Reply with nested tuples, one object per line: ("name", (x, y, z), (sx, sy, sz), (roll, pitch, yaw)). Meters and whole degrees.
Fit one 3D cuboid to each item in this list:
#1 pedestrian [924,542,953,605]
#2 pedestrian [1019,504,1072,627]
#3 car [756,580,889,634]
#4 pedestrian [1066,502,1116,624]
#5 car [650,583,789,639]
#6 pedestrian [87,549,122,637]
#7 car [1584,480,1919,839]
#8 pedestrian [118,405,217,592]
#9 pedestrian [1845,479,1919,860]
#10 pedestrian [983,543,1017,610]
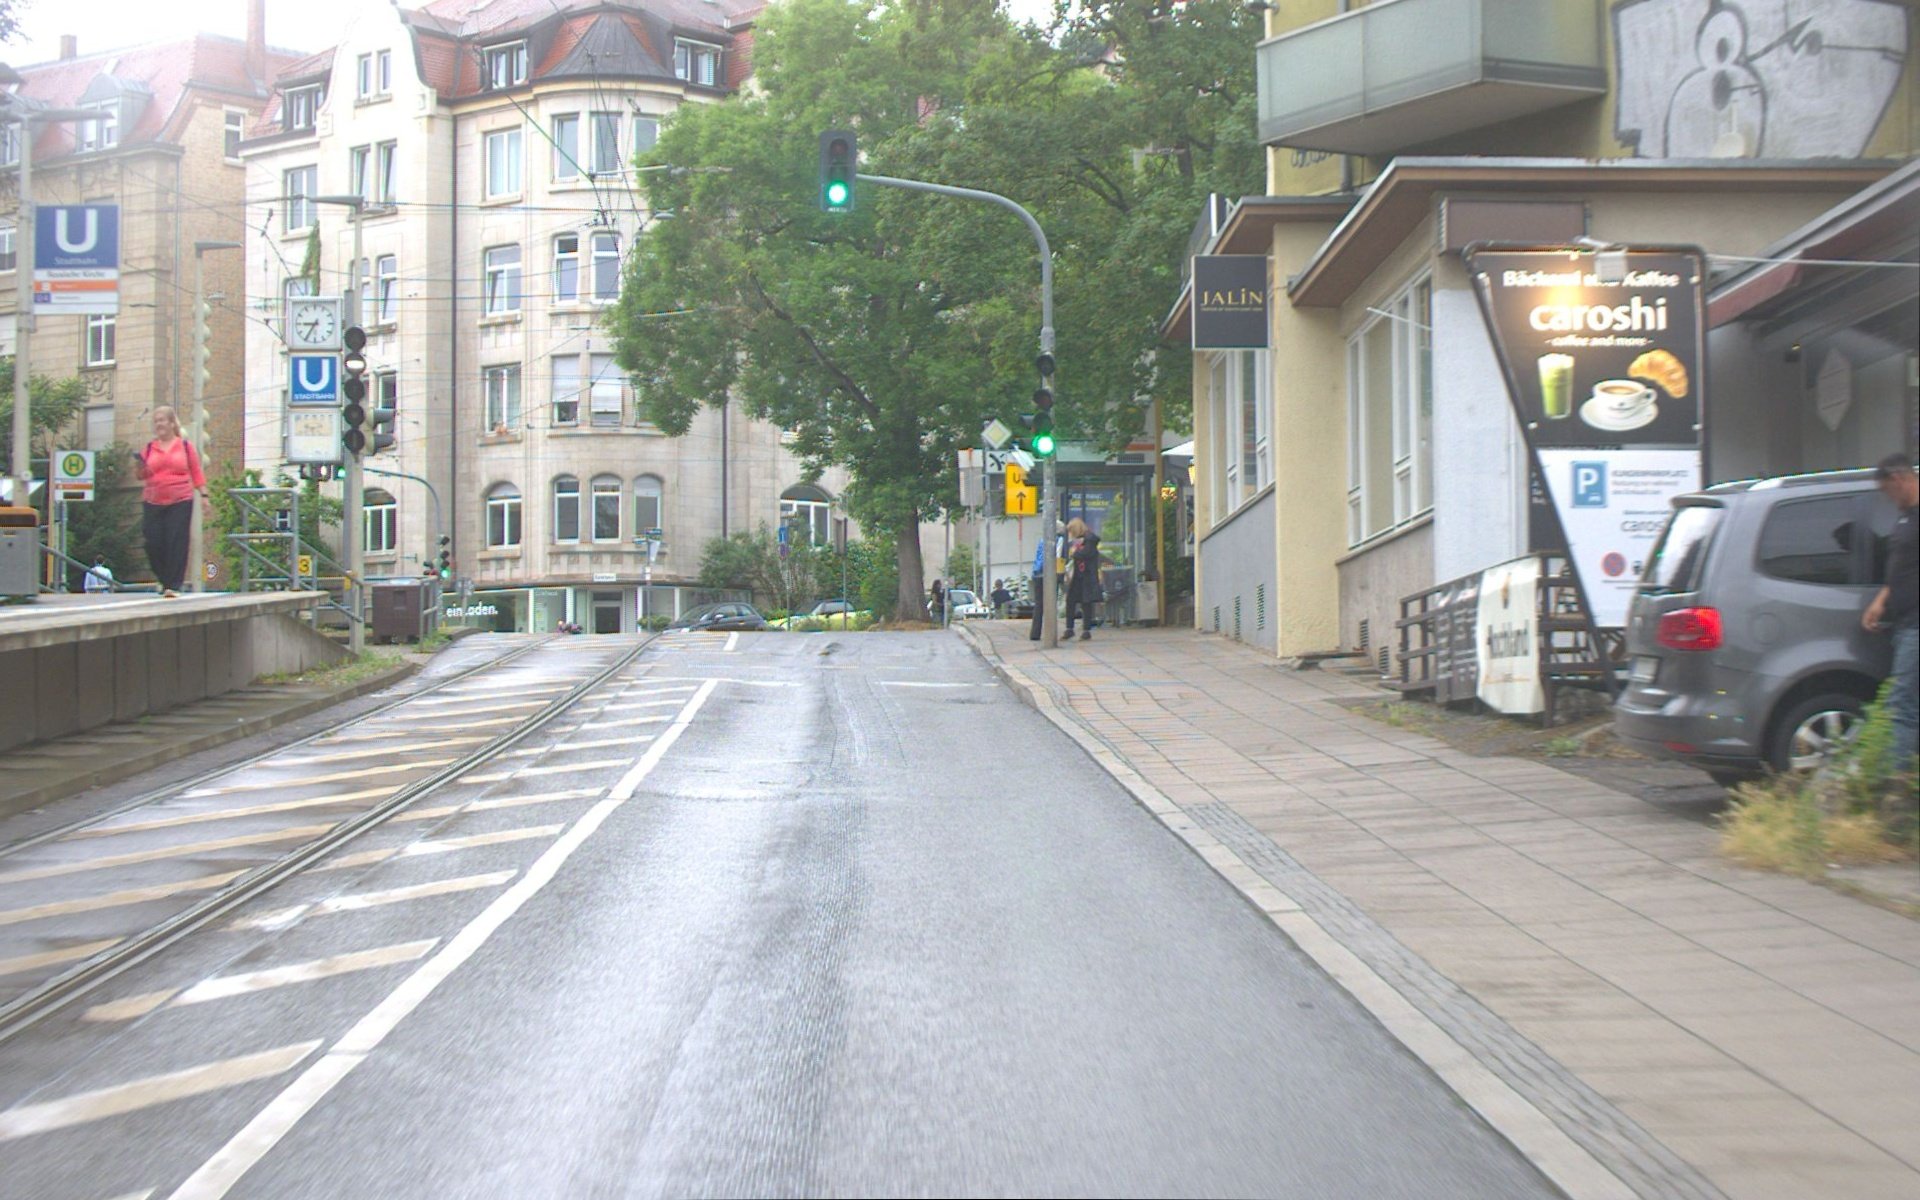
("pedestrian", (-0.535, -0.668, 85.857), (0.599, 1.560, 0.546), (2, 1, -12))
("pedestrian", (1.090, -0.448, 44.024), (0.588, 1.548, 0.650), (-2, 1, -2))
("car", (-4.036, 0.199, 101.339), (3.661, 1.503, 1.736), (-2, 1, -43))
("pedestrian", (1.685, -0.479, 44.362), (0.545, 1.548, 0.559), (-2, 1, -4))
("car", (-6.878, 0.308, 98.428), (3.661, 1.503, 1.736), (-2, 1, -43))
("pedestrian", (-16.502, -0.131, 66.348), (0.568, 1.678, 0.776), (-1, -1, -9))
("car", (5.424, 0.240, 17.041), (4.328, 1.668, 1.780), (-1, 1, 1))
("pedestrian", (-6.638, -0.850, 28.824), (0.671, 1.542, 0.771), (0, 1, -2))
("pedestrian", (4.422, 0.300, 15.807), (0.607, 1.708, 0.721), (-1, 1, 12))
("pedestrian", (0.996, -0.578, 85.191), (0.544, 1.624, 0.601), (1, 1, -35))
